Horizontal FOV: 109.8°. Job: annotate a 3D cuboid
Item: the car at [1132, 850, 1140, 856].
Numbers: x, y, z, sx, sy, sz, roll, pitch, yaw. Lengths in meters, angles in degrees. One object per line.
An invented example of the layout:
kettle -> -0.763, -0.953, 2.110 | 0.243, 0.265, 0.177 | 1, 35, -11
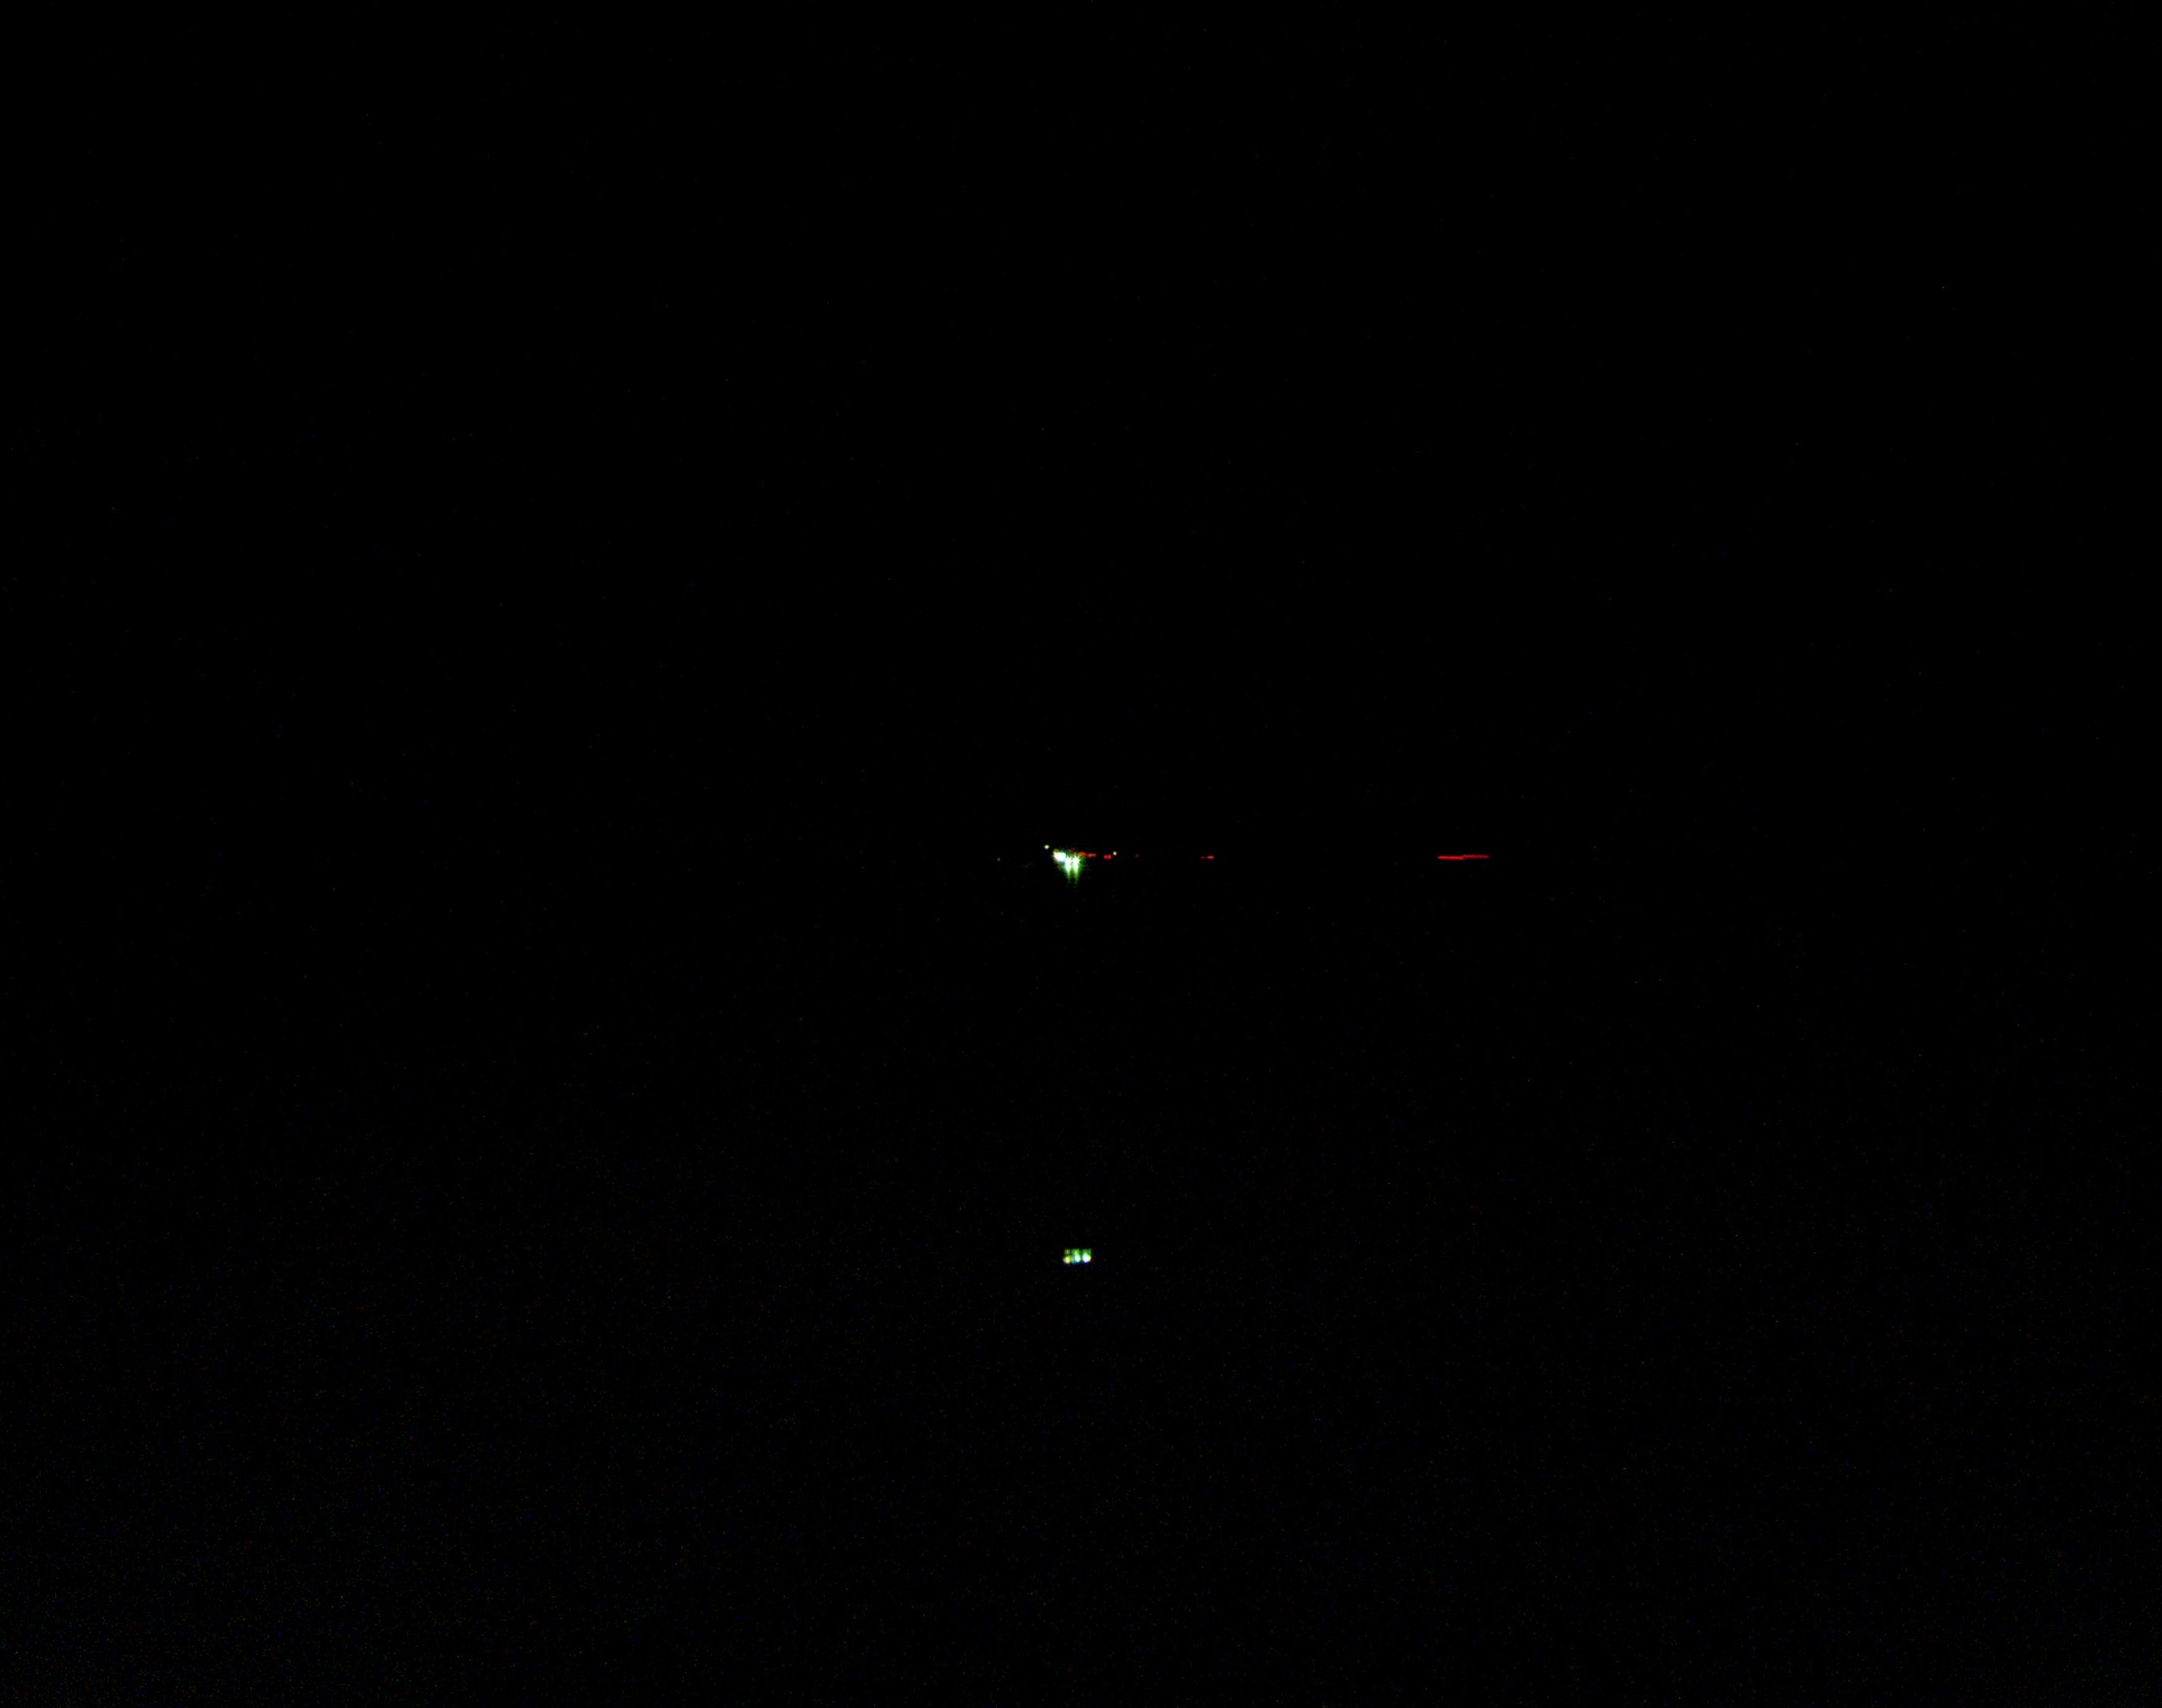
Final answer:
car -> 17.960, -0.272, 249.125 | 1.999, 1.767, 5.088 | -2, 1, -2

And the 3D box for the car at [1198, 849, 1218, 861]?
car -> 18.025, 0.187, 107.691 | 1.999, 1.593, 4.212 | -2, 1, -1

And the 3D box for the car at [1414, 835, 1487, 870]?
car -> 22.968, -0.137, 47.502 | 2.031, 2.002, 5.186 | -2, 1, 0

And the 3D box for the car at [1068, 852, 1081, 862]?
car -> -1.106, 0.554, 133.448 | 2.154, 1.558, 4.580 | -2, 1, -1
